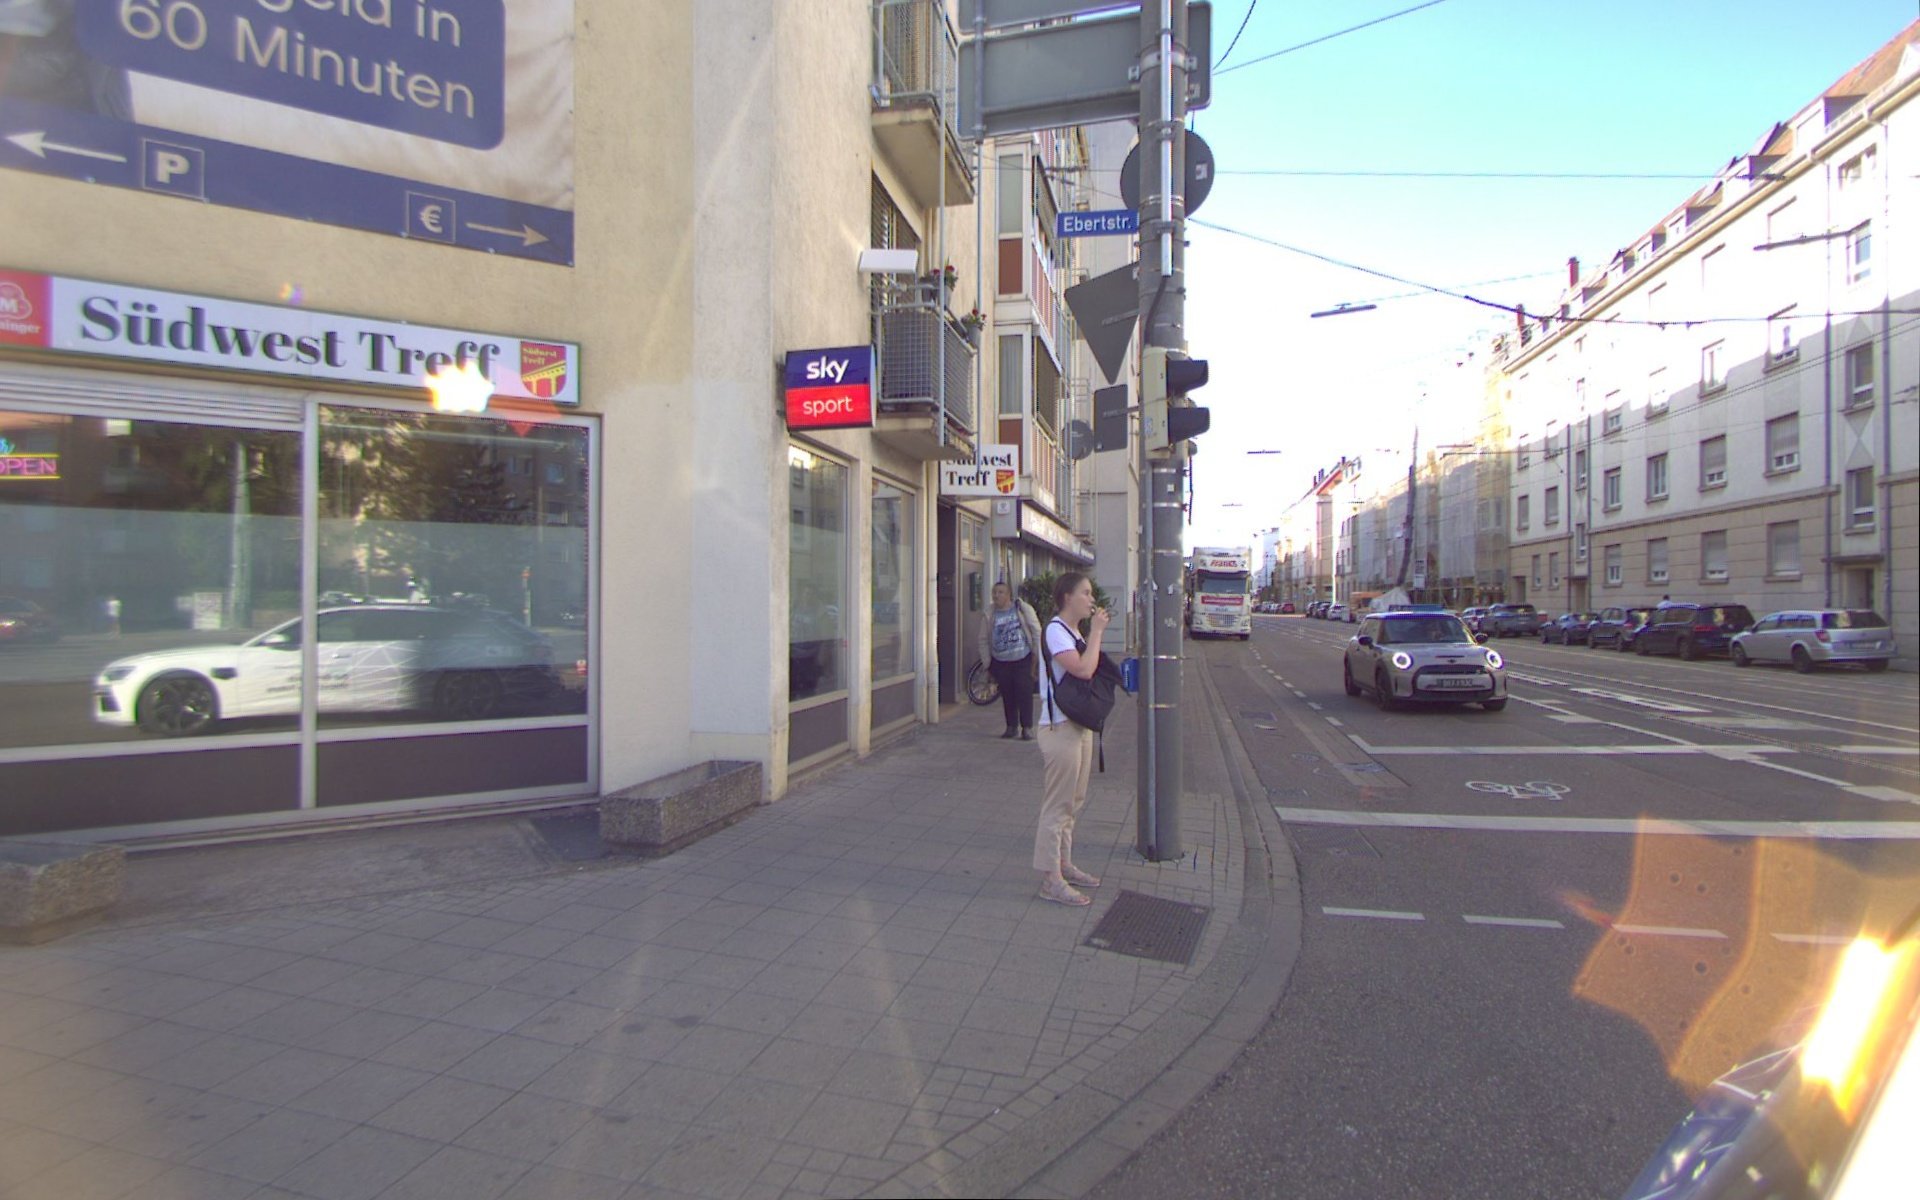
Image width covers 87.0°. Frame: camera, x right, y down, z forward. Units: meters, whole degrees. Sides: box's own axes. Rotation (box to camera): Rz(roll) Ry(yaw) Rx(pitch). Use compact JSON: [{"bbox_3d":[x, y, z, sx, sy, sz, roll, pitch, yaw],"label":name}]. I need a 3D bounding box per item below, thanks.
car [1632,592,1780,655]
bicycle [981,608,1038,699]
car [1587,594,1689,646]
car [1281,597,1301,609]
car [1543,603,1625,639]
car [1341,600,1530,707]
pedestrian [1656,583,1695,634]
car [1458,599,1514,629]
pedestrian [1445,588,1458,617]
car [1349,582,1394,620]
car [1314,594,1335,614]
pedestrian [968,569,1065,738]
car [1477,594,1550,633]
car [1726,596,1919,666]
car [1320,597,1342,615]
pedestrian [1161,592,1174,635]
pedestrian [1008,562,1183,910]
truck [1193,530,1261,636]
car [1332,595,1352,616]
[{"bbox_3d":[22.035,0.630,30.125,1.791,1.654,4.311,-3,0,11],"label":"car"},{"bbox_3d":[0.724,0.717,14.344,0.490,1.176,1.770,-1,0,13],"label":"bicycle"},{"bbox_3d":[23.187,0.647,34.778,1.619,1.578,3.582,-3,0,12],"label":"car"},{"bbox_3d":[46.790,0.412,143.059,2.199,1.546,4.940,-2,0,13],"label":"car"},{"bbox_3d":[24.094,0.796,39.196,1.453,1.235,3.512,-3,0,11],"label":"car"},{"bbox_3d":[7.274,0.769,15.897,1.701,1.443,3.804,-2,-1,10],"label":"car"},{"bbox_3d":[25.946,0.298,36.719,0.652,1.790,1.004,-2,-1,6],"label":"pedestrian"},{"bbox_3d":[26.748,0.700,51.566,1.541,1.397,3.496,-3,0,11],"label":"car"},{"bbox_3d":[32.231,0.169,66.350,0.511,1.896,0.760,-2,-1,13],"label":"pedestrian"},{"bbox_3d":[31.975,0.065,78.864,2.183,2.731,5.850,-2,0,13],"label":"car"},{"bbox_3d":[38.913,0.396,108.175,1.547,1.981,4.167,-2,0,13],"label":"car"},{"bbox_3d":[0.592,0.524,10.344,0.872,1.612,0.809,2,-1,8],"label":"pedestrian"},{"bbox_3d":[25.866,0.594,47.413,1.725,1.629,4.146,-3,0,11],"label":"car"},{"bbox_3d":[20.964,0.697,24.781,1.703,1.473,4.357,-3,0,11],"label":"car"},{"bbox_3d":[37.325,0.589,101.973,1.547,1.705,3.921,-2,0,13],"label":"car"},{"bbox_3d":[8.030,0.500,39.185,0.469,1.650,0.465,0,0,15],"label":"pedestrian"},{"bbox_3d":[0.716,0.643,5.282,0.538,1.643,0.723,5,3,37],"label":"pedestrian"},{"bbox_3d":[12.232,-0.759,47.024,2.661,4.291,11.730,0,1,13],"label":"truck"},{"bbox_3d":[36.178,0.508,95.984,1.639,1.947,3.740,-2,0,20],"label":"car"}]
